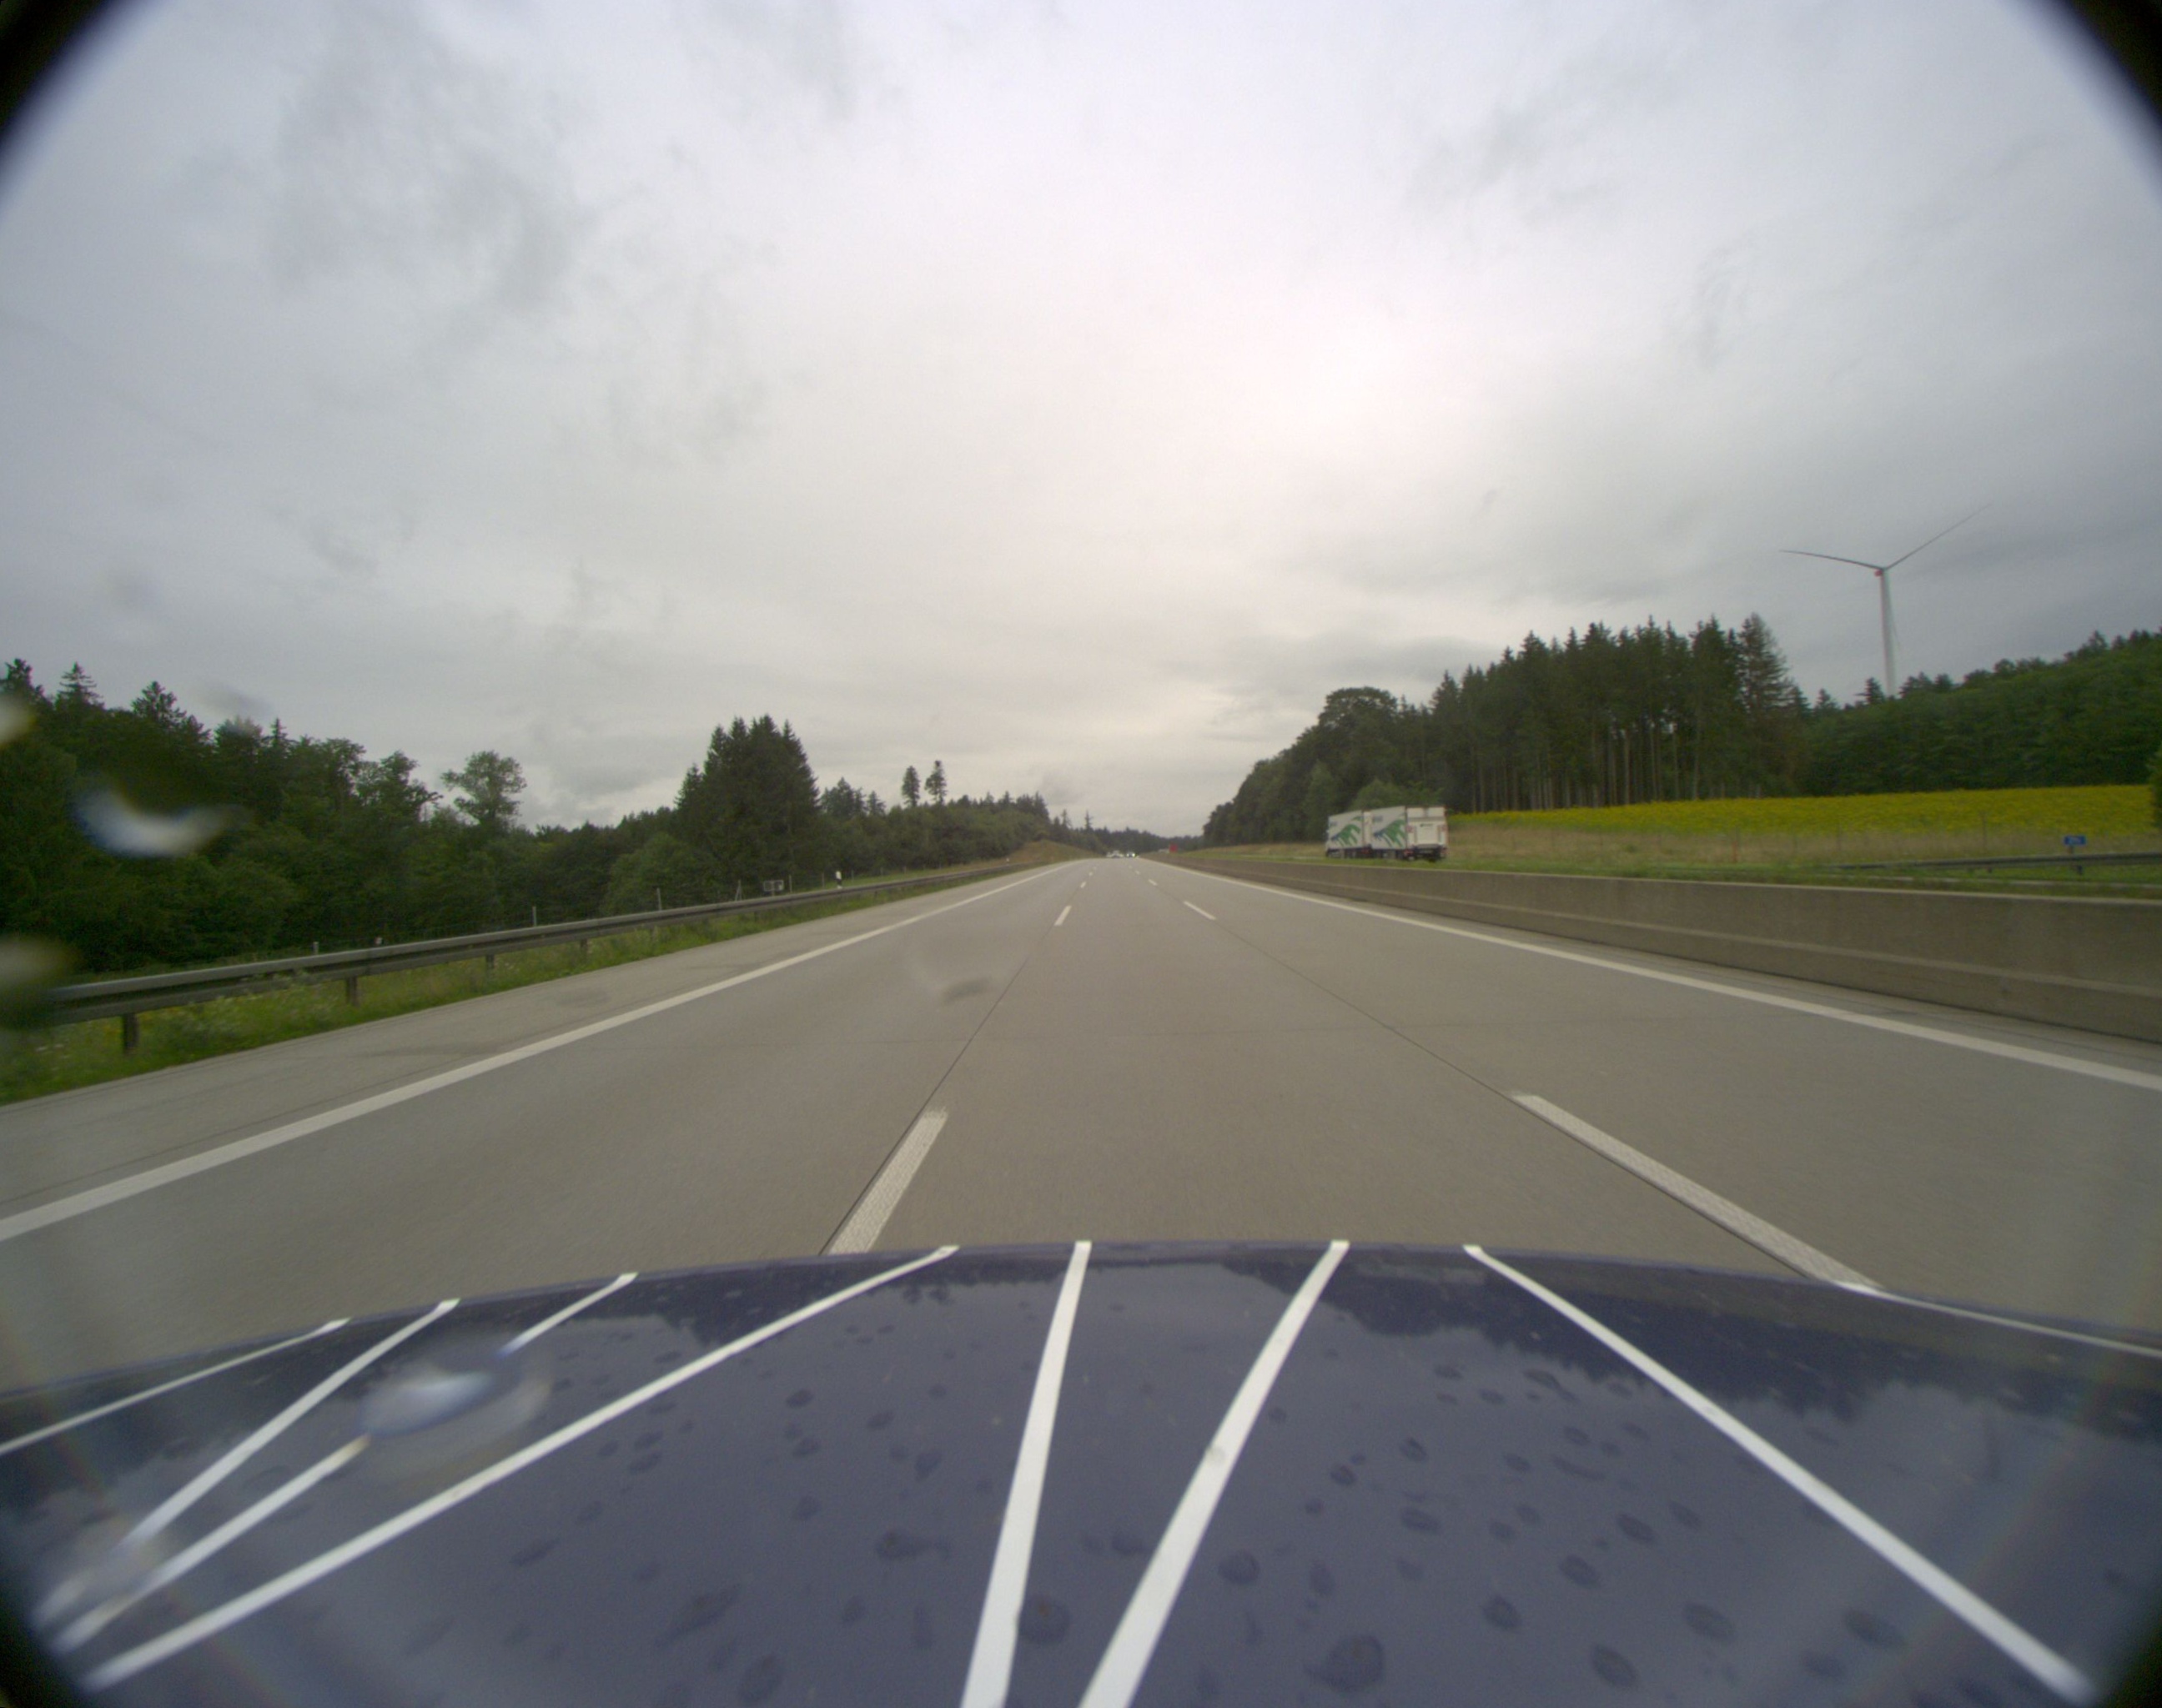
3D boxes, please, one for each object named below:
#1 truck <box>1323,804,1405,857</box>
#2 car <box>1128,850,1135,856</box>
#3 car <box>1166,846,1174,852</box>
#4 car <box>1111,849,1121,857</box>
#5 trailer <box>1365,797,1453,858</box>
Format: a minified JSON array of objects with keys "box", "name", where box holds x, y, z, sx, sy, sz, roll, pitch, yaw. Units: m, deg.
[{"box":[22.660,-1.783,61.673,2.819,3.751,11.351,-2,1,2],"name":"truck"},{"box":[12.771,-0.213,192.447,1.766,1.455,4.002,-2,-2,2],"name":"car"},{"box":[26.879,-1.573,230.029,1.998,1.790,4.391,-3,1,2],"name":"car"},{"box":[9.268,-0.318,202.268,2.213,2.001,4.834,-3,-1,0],"name":"car"},{"box":[22.267,-1.711,52.067,2.825,3.761,7.716,-2,0,2],"name":"trailer"}]
